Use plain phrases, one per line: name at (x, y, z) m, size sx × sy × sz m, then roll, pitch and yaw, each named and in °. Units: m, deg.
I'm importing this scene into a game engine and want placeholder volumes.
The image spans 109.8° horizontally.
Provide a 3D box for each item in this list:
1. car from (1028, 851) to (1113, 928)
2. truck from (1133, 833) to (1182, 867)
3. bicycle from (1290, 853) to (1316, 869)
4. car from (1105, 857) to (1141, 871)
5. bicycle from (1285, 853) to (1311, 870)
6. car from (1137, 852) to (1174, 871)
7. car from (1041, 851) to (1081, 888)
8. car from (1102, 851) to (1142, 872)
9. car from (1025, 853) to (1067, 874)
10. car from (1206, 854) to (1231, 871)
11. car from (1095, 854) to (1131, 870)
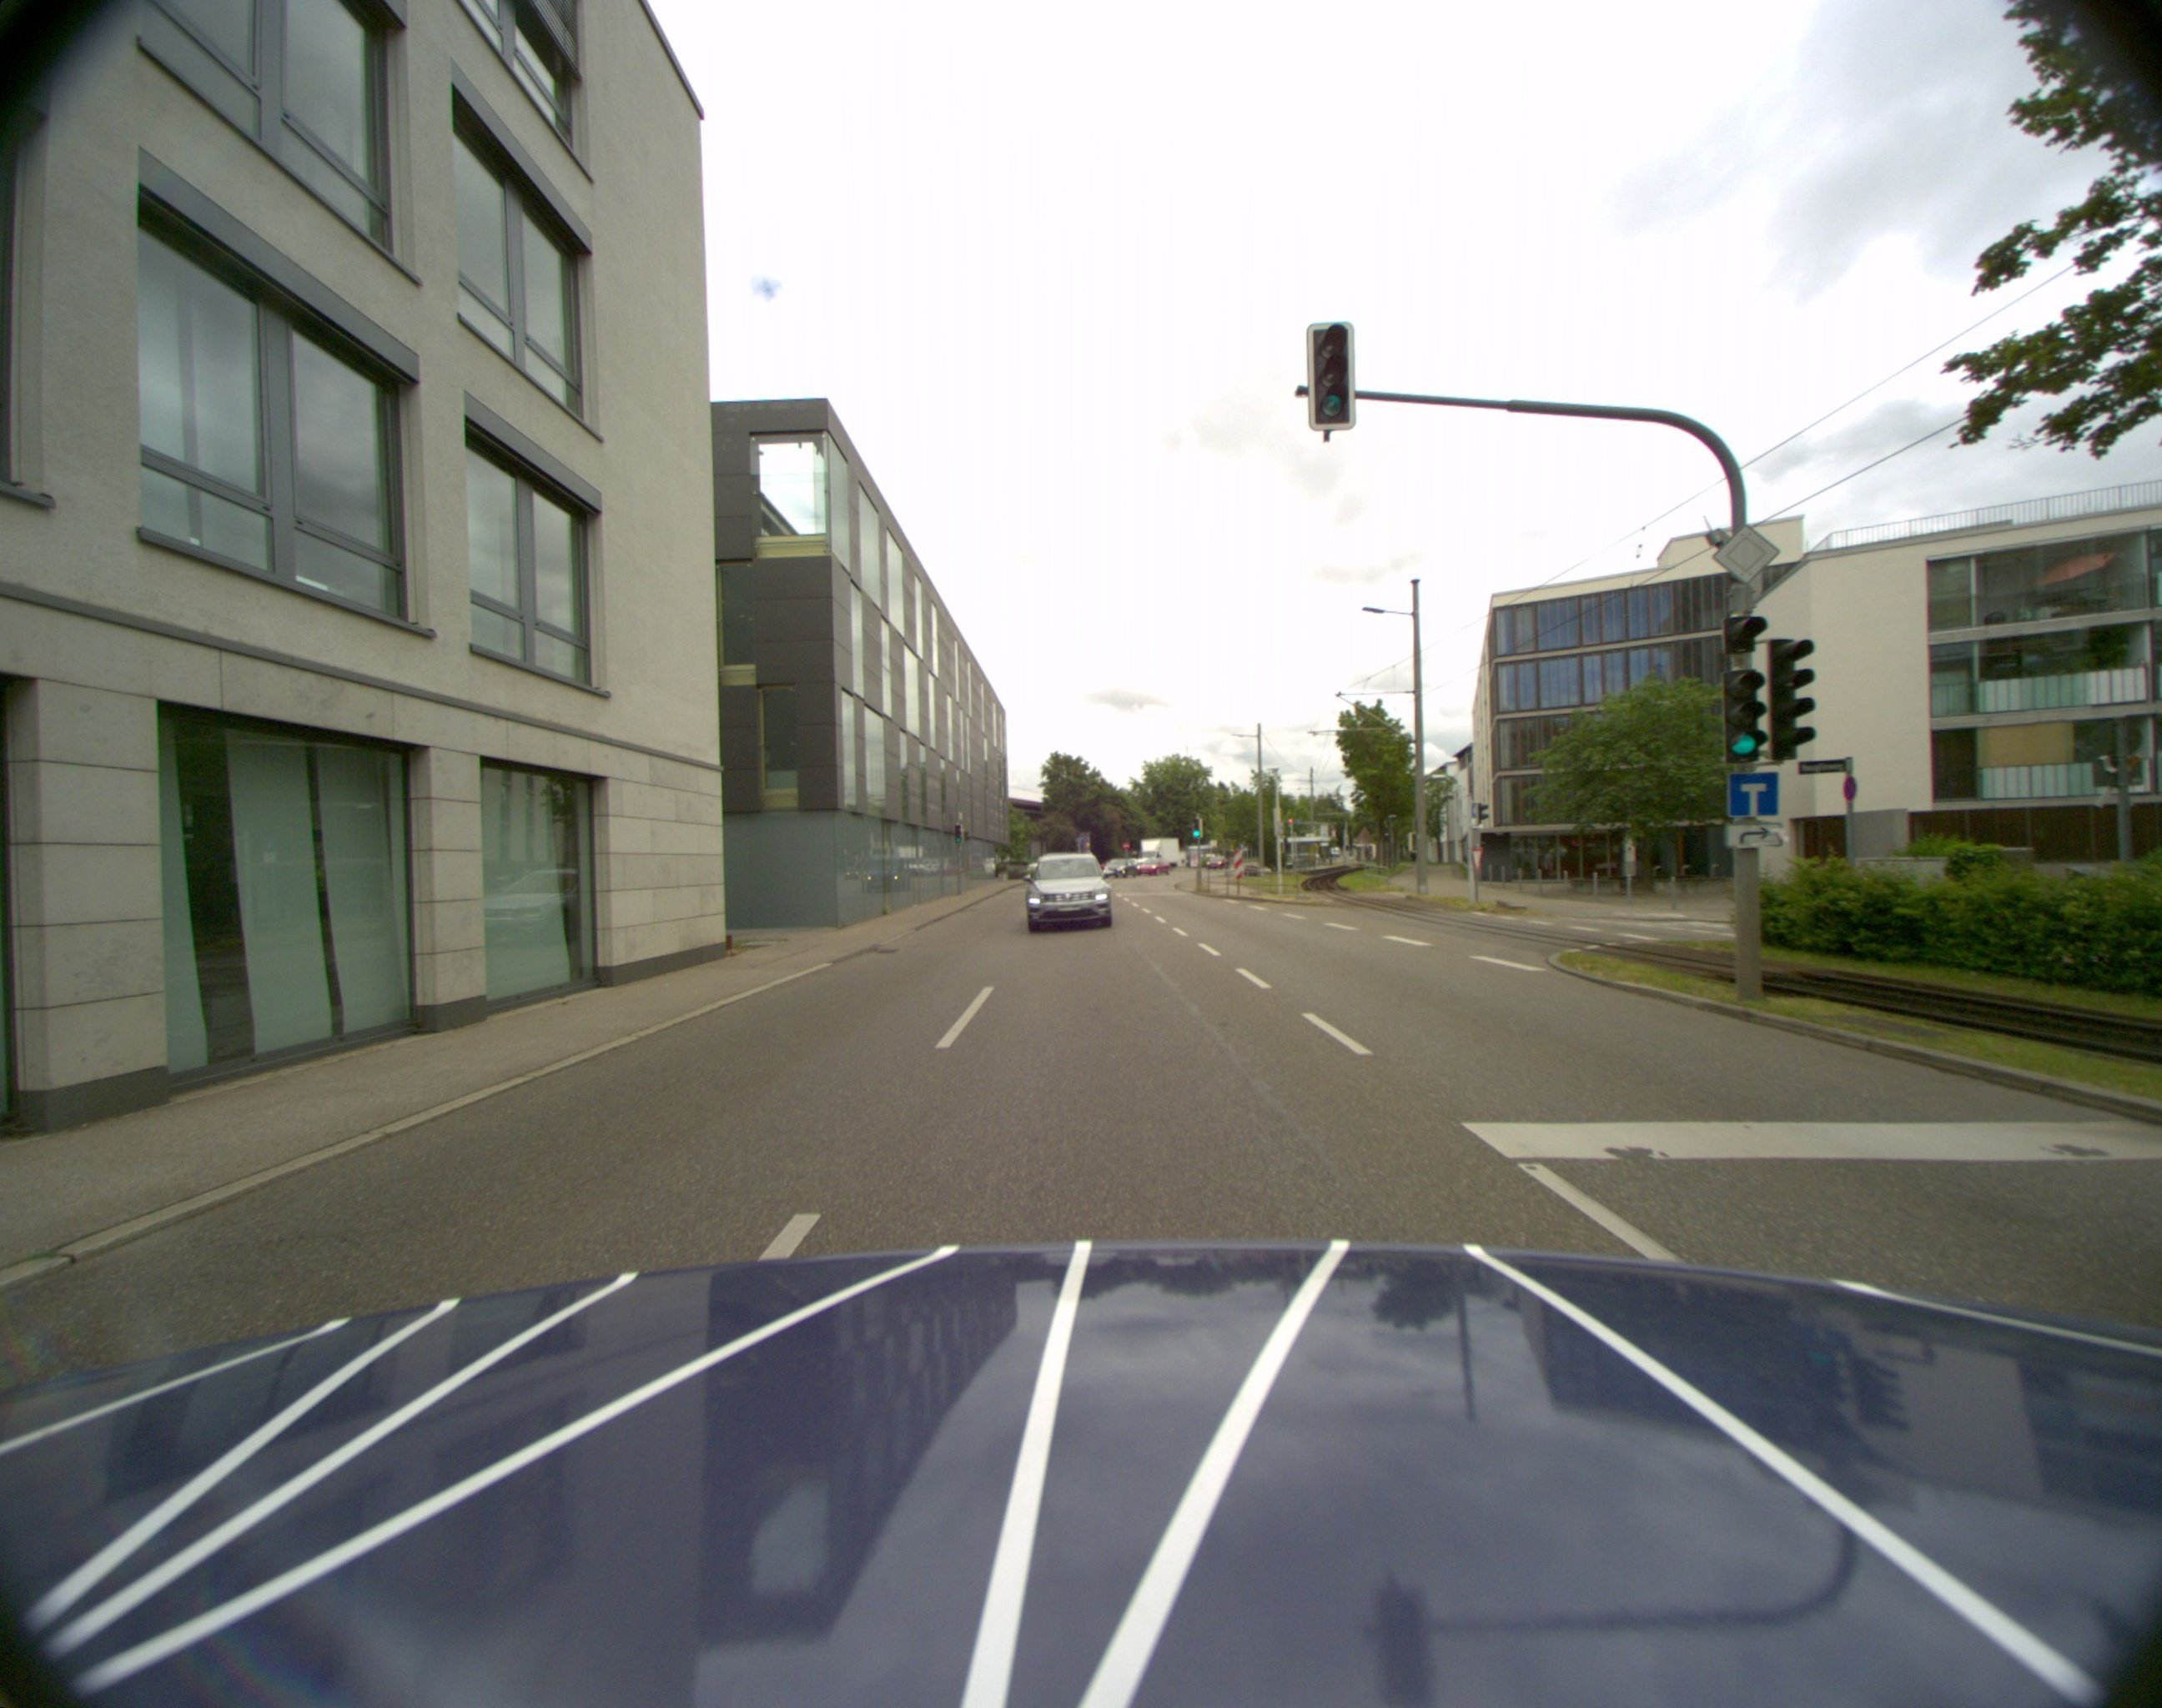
car at (-0.202, 0.783, 18.785) m, size 1.811 × 1.637 × 4.331 m, roll -2°, pitch 0°, yaw 1°
truck at (8.270, -0.474, 81.184) m, size 2.537 × 3.406 × 7.788 m, roll -2°, pitch 1°, yaw 27°
bicycle at (16.180, 0.507, 55.382) m, size 1.750 × 1.040 × 0.409 m, roll -3°, pitch 0°, yaw 28°
car at (4.949, 1.175, 89.324) m, size 3.999 × 1.402 × 1.524 m, roll -4°, pitch 0°, yaw -6°
bicycle at (15.527, 0.529, 54.408) m, size 1.707 × 1.082 × 0.408 m, roll -3°, pitch 0°, yaw 14°
car at (6.385, 0.609, 64.902) m, size 1.846 × 1.525 × 4.008 m, roll 0°, pitch 0°, yaw 27°
car at (-1.061, 0.816, 41.802) m, size 1.849 × 1.850 × 4.001 m, roll -2°, pitch 0°, yaw 3°
car at (3.214, 0.580, 58.764) m, size 1.847 × 1.525 × 4.006 m, roll -2°, pitch 0°, yaw 22°
car at (-3.254, 0.879, 71.655) m, size 1.853 × 1.747 × 4.730 m, roll -2°, pitch 0°, yaw 26°
car at (15.447, 0.925, 85.382) m, size 1.847 × 1.850 × 4.264 m, roll -2°, pitch 0°, yaw 22°
car at (3.523, 0.844, 84.415) m, size 3.895 × 1.475 × 1.683 m, roll -4°, pitch 0°, yaw 1°
